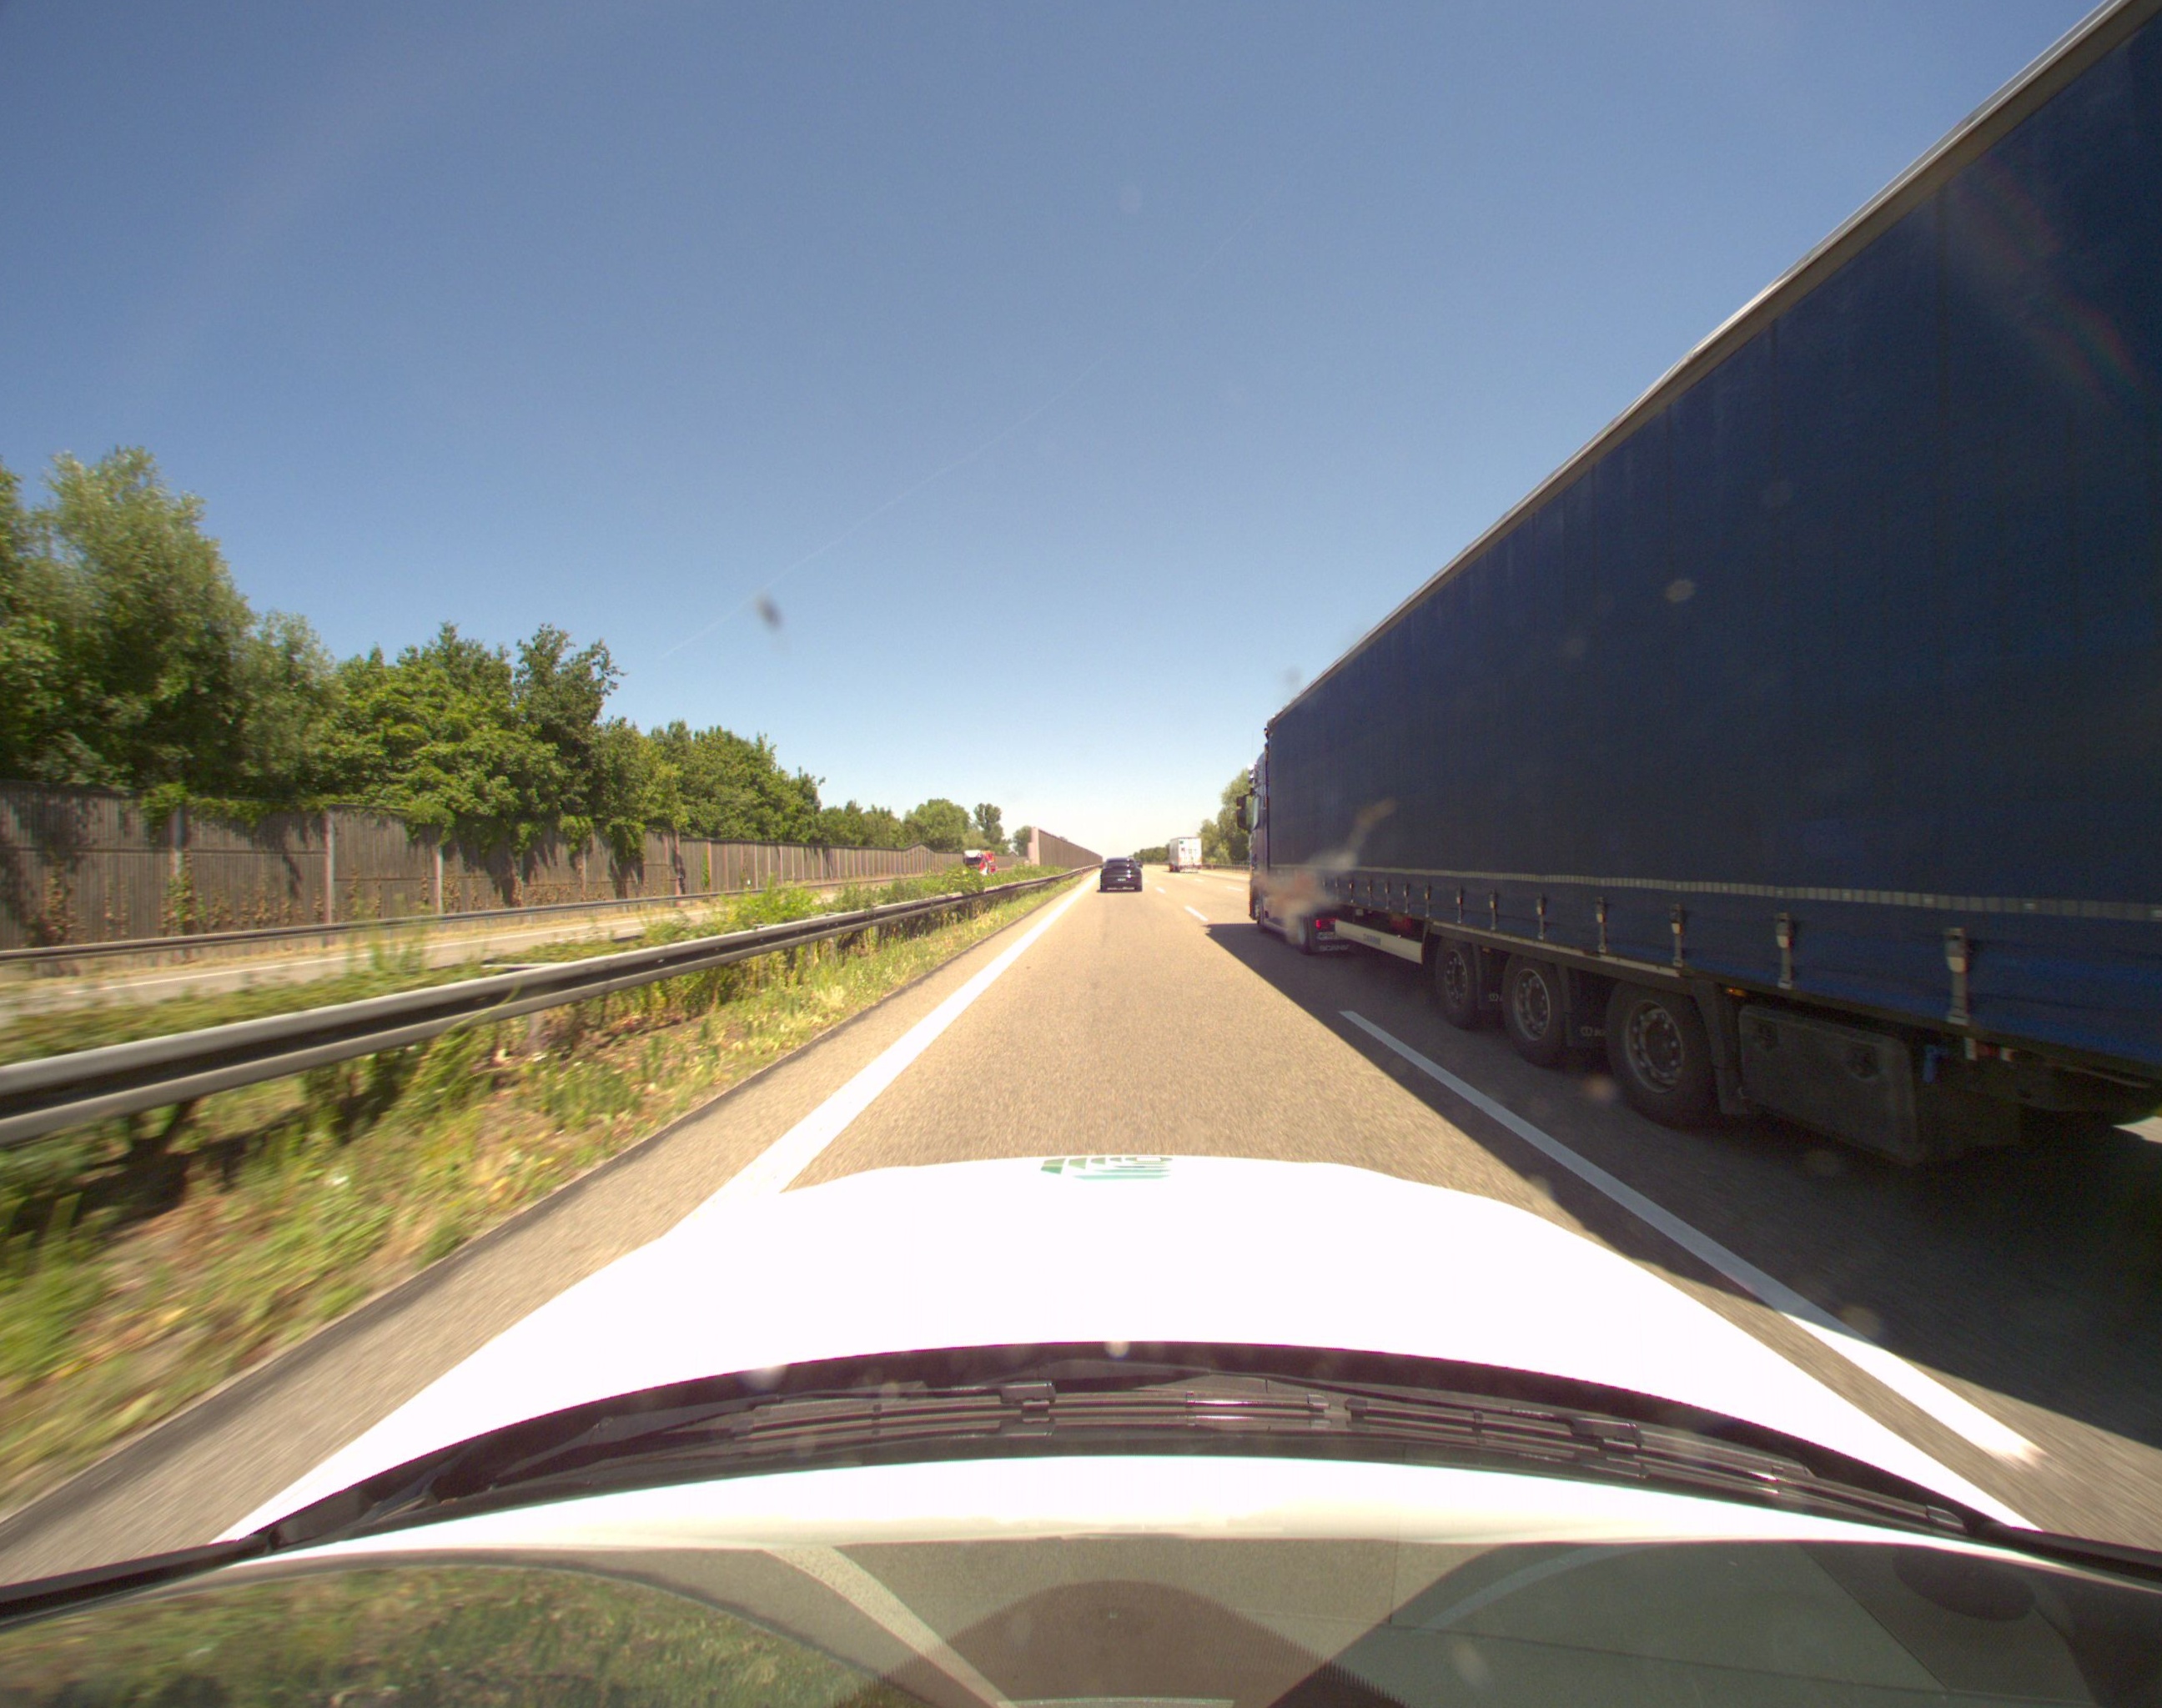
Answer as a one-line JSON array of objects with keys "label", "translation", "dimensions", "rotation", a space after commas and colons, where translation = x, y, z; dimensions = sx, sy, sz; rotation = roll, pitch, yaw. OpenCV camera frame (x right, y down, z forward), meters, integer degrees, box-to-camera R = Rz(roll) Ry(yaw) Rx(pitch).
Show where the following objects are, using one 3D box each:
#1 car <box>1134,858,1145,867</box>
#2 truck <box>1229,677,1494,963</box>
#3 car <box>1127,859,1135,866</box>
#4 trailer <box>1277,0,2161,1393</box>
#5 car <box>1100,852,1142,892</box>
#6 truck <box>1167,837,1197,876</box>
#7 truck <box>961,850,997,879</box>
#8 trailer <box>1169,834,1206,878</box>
[{"label": "car", "translation": [10.807, 1.585, 150.580], "dimensions": [1.895, 1.584, 4.306], "rotation": [-2, -2, 3]}, {"label": "truck", "translation": [4.698, -0.464, 15.309], "dimensions": [2.690, 4.118, 6.992], "rotation": [-1, -1, 1]}, {"label": "car", "translation": [12.547, 2.077, 203.512], "dimensions": [1.895, 1.584, 4.306], "rotation": [-2, -2, 3]}, {"label": "trailer", "translation": [4.488, -0.525, 7.634], "dimensions": [2.690, 4.118, 12.135], "rotation": [-1, -1, 2]}, {"label": "car", "translation": [1.885, 0.853, 39.718], "dimensions": [1.873, 1.792, 4.000], "rotation": [-1, 0, 1]}, {"label": "truck", "translation": [12.921, 0.331, 104.350], "dimensions": [3.221, 4.889, 6.976], "rotation": [-1, -1, 3]}, {"label": "truck", "translation": [-12.761, 1.329, 103.183], "dimensions": [2.689, 3.492, 10.860], "rotation": [-1, -1, 3]}, {"label": "trailer", "translation": [12.573, 0.333, 97.320], "dimensions": [3.256, 4.838, 14.038], "rotation": [-1, -1, 3]}]
